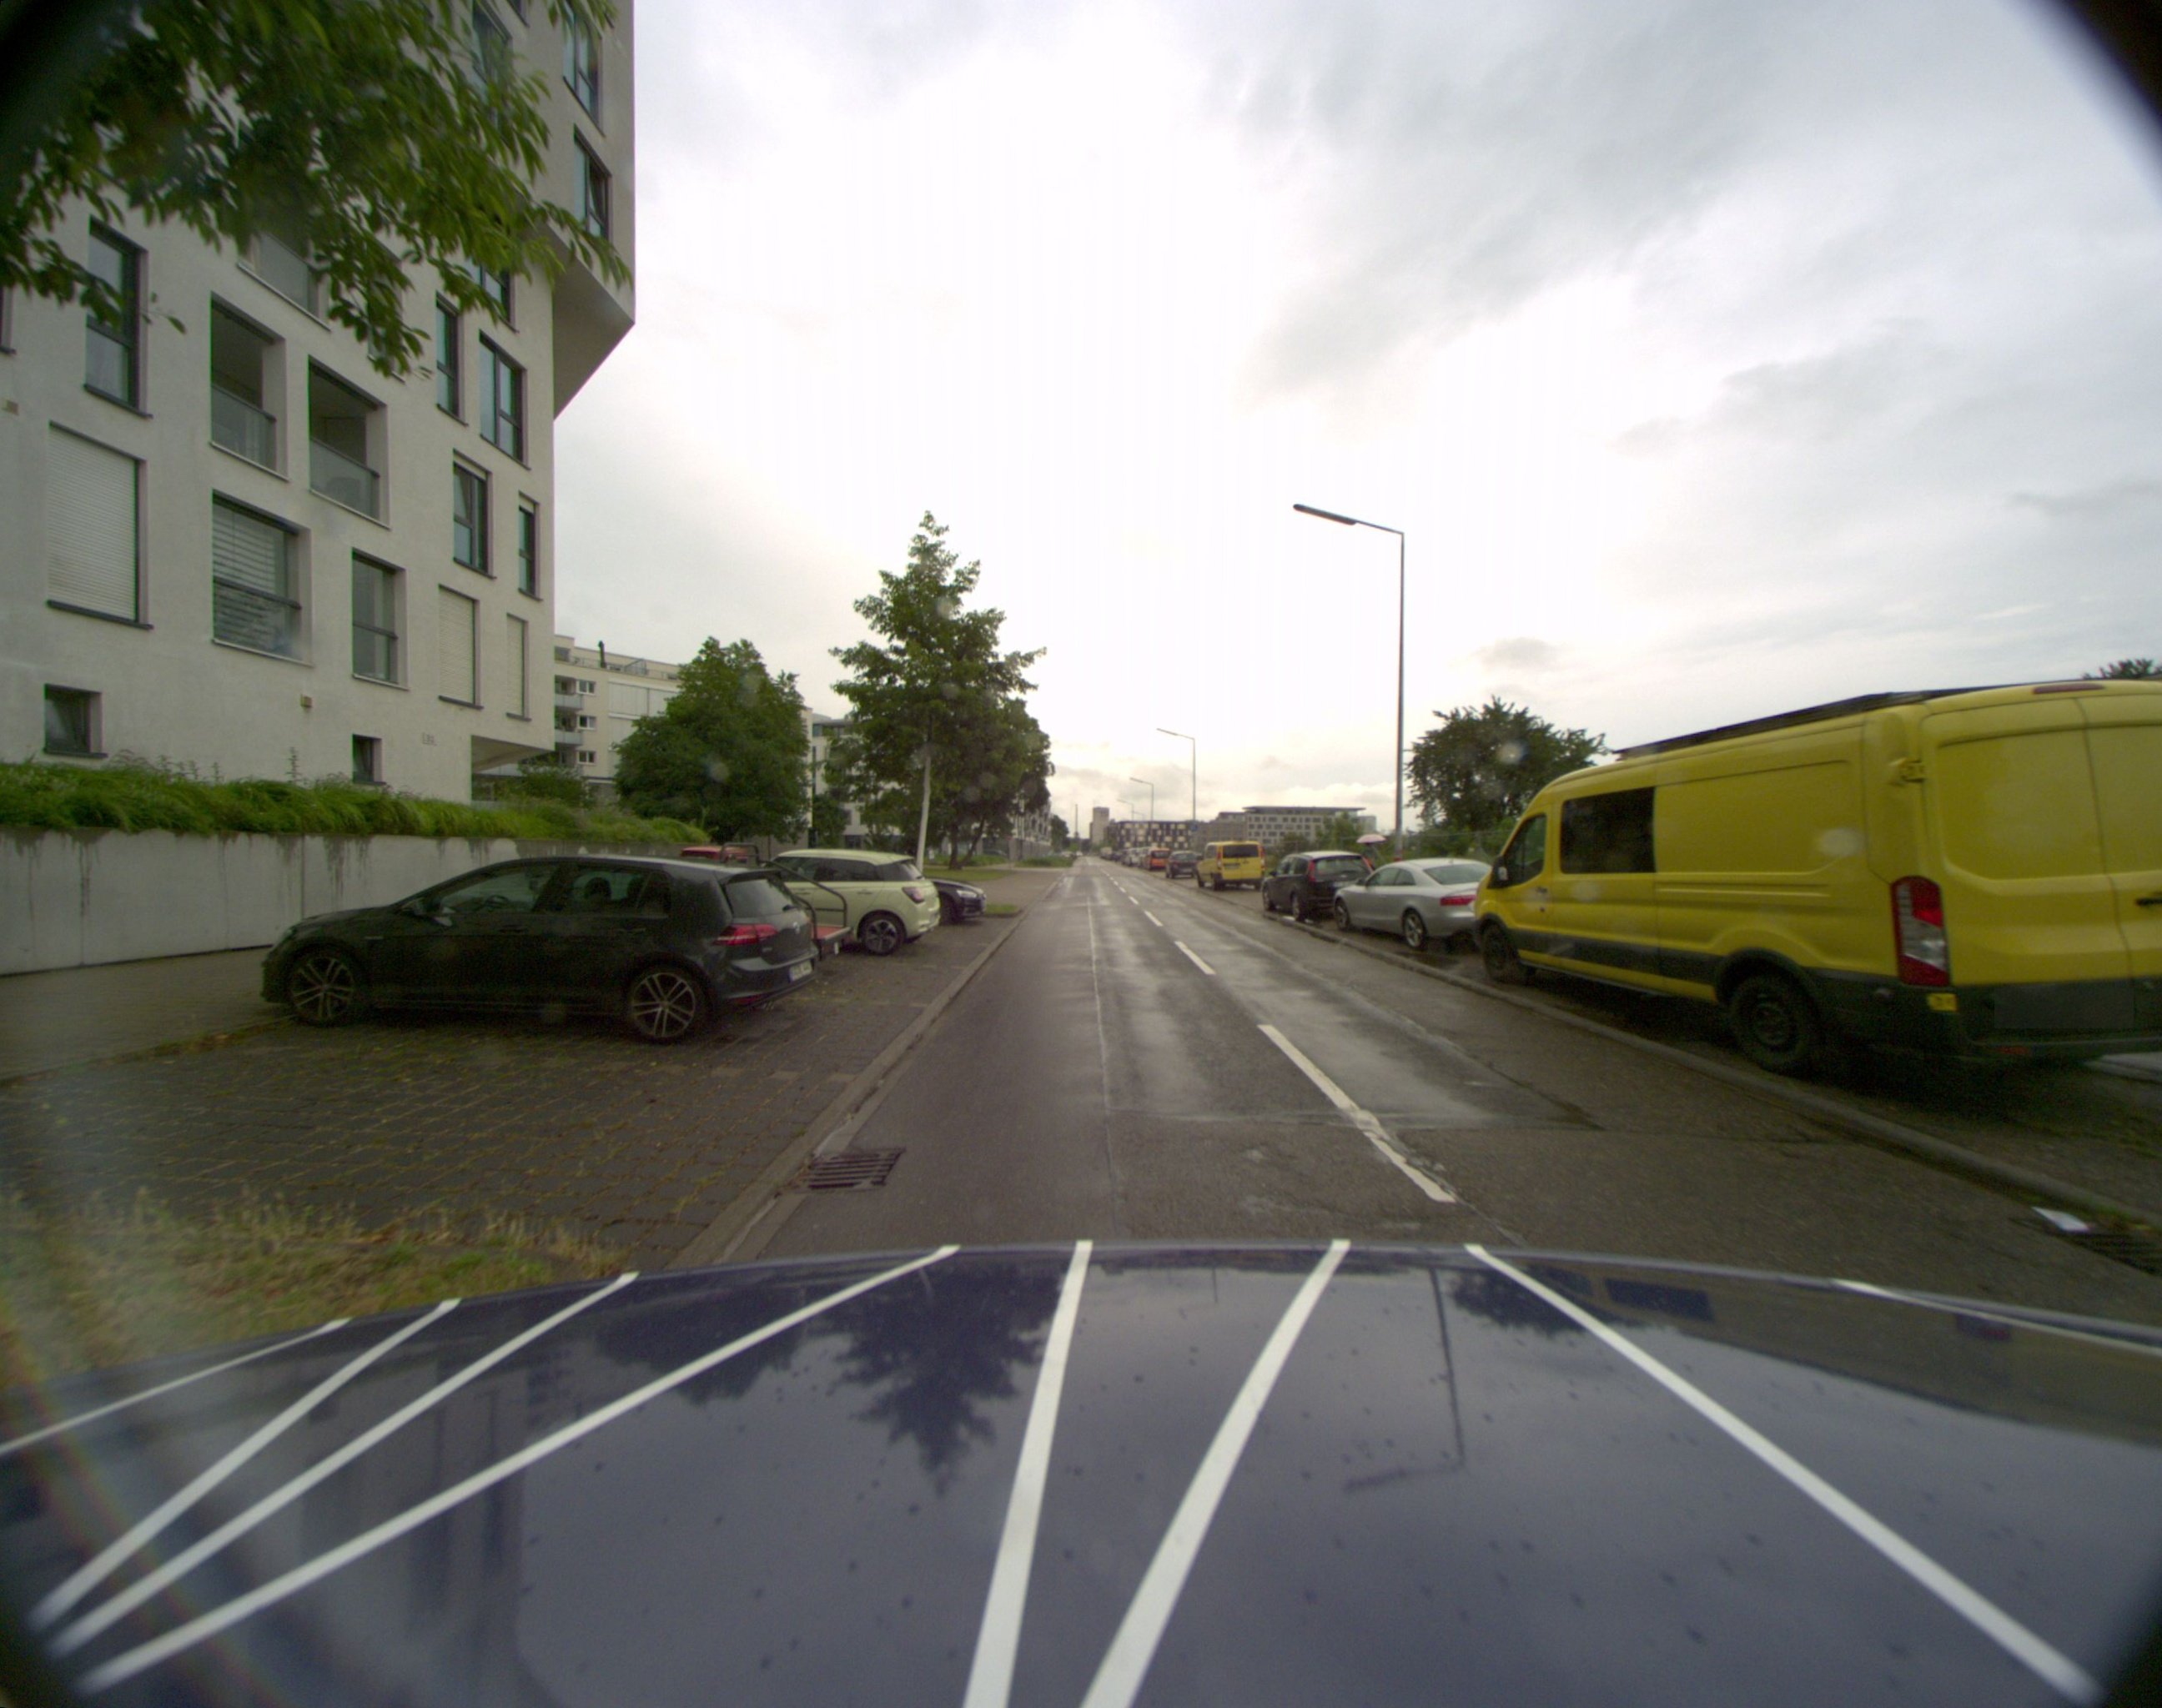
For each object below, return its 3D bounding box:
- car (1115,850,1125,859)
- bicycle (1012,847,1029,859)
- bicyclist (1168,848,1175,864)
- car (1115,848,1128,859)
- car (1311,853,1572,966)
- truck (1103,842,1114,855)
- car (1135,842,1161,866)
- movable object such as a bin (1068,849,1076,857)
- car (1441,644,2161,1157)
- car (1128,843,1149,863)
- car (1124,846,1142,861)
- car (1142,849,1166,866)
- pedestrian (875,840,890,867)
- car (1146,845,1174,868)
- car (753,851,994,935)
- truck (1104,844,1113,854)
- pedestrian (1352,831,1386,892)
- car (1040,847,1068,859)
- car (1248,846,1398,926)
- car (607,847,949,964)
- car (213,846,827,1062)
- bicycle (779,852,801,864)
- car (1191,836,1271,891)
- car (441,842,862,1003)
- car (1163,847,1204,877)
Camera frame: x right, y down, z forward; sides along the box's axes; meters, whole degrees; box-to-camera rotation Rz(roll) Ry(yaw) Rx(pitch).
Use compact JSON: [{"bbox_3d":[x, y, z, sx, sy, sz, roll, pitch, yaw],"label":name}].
[{"bbox_3d":[7.328,0.156,143.308,1.756,1.683,4.881,0,0,3],"label":"car"},{"bbox_3d":[-8.149,-0.109,102.113,2.189,1.514,0.631,1,1,21],"label":"bicycle"},{"bbox_3d":[10.129,0.241,85.339,0.700,1.819,1.008,-1,1,1],"label":"bicyclist"},{"bbox_3d":[6.453,-0.067,121.261,1.852,1.552,4.152,-2,0,0],"label":"car"},{"bbox_3d":[5.893,0.779,13.379,2.015,1.426,5.338,-3,1,0],"label":"car"},{"bbox_3d":[6.813,-1.351,187.594,2.442,3.050,6.699,-1,0,0],"label":"truck"},{"bbox_3d":[6.374,-0.031,72.860,1.947,2.223,5.557,0,0,0],"label":"car"},{"bbox_3d":[-1.796,-0.293,149.076,1.499,1.484,1.155,3,1,1],"label":"movable object such as a bin"},{"bbox_3d":[5.826,0.201,7.045,2.197,2.679,6.081,-3,1,2],"label":"car"},{"bbox_3d":[6.282,-0.109,83.514,1.964,2.046,5.274,-1,0,1],"label":"car"},{"bbox_3d":[6.632,-0.080,96.921,1.961,1.891,4.994,0,0,0],"label":"car"},{"bbox_3d":[6.371,0.285,66.575,1.688,1.493,4.891,0,1,0],"label":"car"},{"bbox_3d":[-14.947,-0.021,57.134,0.967,2.002,0.622,0,1,1],"label":"pedestrian"},{"bbox_3d":[6.227,0.176,60.335,1.944,1.757,4.331,0,1,2],"label":"car"},{"bbox_3d":[-4.257,0.778,16.126,4.582,1.488,1.825,2,1,-1],"label":"car"},{"bbox_3d":[7.529,-1.394,207.796,2.180,2.591,6.131,0,0,0],"label":"truck"},{"bbox_3d":[9.654,0.253,25.478,0.744,2.002,0.980,-1,1,1],"label":"pedestrian"},{"bbox_3d":[-3.976,-0.204,112.337,4.100,1.614,1.966,2,1,-1],"label":"car"},{"bbox_3d":[5.716,0.660,18.712,1.999,1.585,5.016,-3,1,-1],"label":"car"},{"bbox_3d":[-4.449,0.731,11.628,4.499,1.473,1.692,2,1,0],"label":"car"},{"bbox_3d":[-4.434,0.749,6.471,3.967,1.466,1.591,3,1,-2],"label":"car"},{"bbox_3d":[-25.661,0.353,67.019,2.477,1.081,0.727,0,1,41],"label":"bicycle"},{"bbox_3d":[5.958,0.302,31.003,2.022,1.945,6.064,-2,1,0],"label":"car"},{"bbox_3d":[-4.862,0.726,8.978,3.997,1.547,1.634,3,1,1],"label":"car"},{"bbox_3d":[5.826,0.413,43.706,1.808,1.552,4.032,-3,0,1],"label":"car"}]
